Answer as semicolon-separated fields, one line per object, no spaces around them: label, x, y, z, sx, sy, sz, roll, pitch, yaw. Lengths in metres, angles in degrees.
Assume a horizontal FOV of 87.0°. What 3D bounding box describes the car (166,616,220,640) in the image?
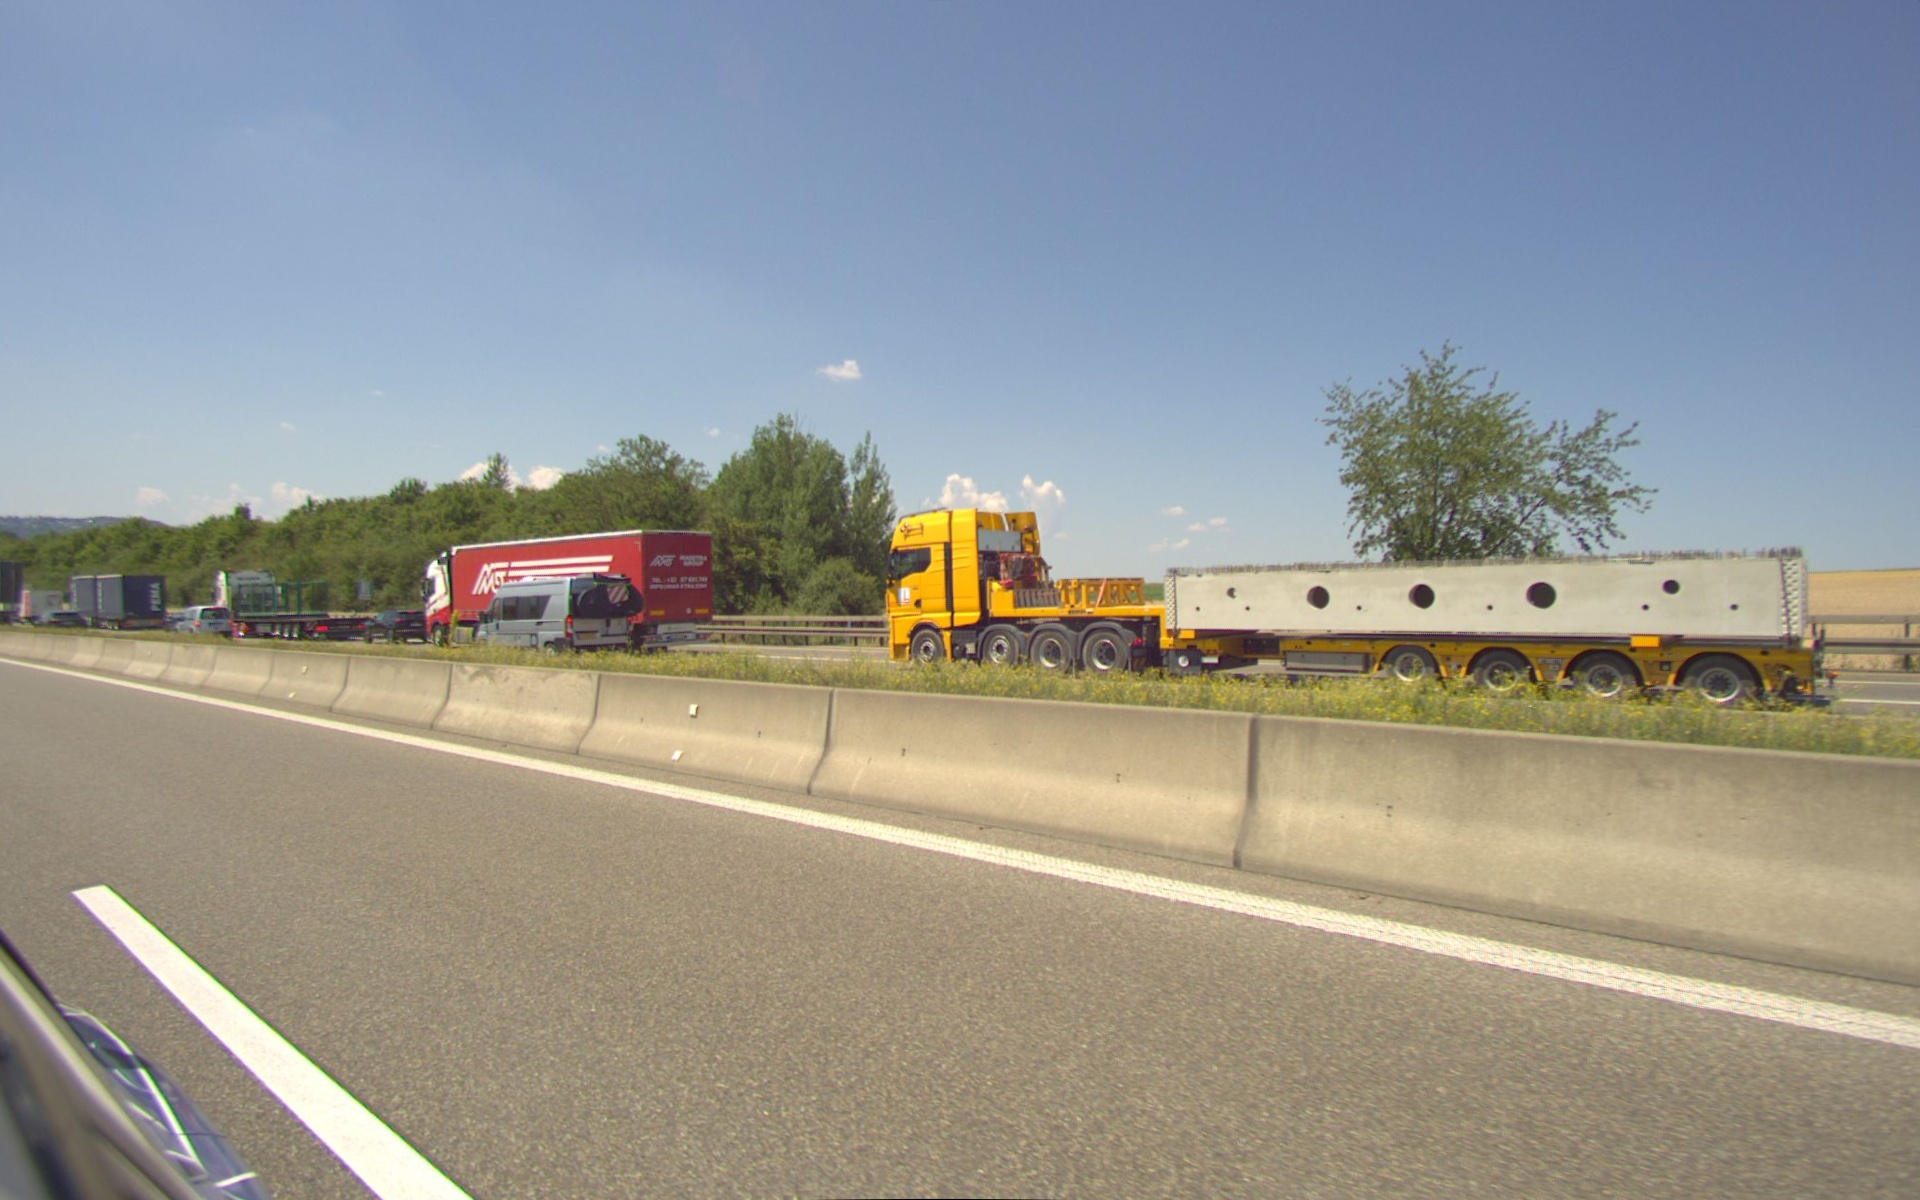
car;-48.914;1.770;64.500;4.642;1.442;1.640;0;0;38

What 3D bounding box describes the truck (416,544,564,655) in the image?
truck;-18.969;0.008;40.691;6.310;4.112;3.005;-1;0;40

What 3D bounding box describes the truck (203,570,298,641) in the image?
truck;-41.072;0.293;58.553;6.171;3.906;2.873;-1;0;39

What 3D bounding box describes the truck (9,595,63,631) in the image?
truck;-87.717;1.228;96.027;7.577;3.232;2.515;-1;0;37

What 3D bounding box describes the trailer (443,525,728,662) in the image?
trailer;-13.968;-0.145;36.378;14.373;4.131;3.054;-1;0;41

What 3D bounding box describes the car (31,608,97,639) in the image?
car;-52.854;1.380;59.672;5.249;1.708;2.029;-1;0;39

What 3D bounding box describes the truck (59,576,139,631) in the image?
truck;-69.834;0.316;82.000;10.721;4.266;2.972;-1;0;39

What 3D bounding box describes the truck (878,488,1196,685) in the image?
truck;1.560;-0.222;23.324;7.096;3.866;2.722;-1;0;42

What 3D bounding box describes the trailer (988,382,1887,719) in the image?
trailer;6.944;-0.496;18.327;14.377;4.131;2.921;-1;0;42

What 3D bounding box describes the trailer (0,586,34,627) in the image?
trailer;-99.630;0.723;105.834;8.220;4.103;2.891;-1;-1;39

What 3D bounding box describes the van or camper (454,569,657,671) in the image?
van or camper;-11.682;0.528;28.890;7.137;2.606;2.288;-1;0;40

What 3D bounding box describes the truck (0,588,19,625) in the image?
truck;-107.026;0.763;111.699;11.229;3.928;2.816;0;-1;38

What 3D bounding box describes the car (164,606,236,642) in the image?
car;-39.731;1.229;52.888;4.757;1.785;1.895;-1;0;39

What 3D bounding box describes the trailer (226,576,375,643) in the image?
trailer;-35.268;0.509;53.786;12.769;3.230;2.830;-1;0;39

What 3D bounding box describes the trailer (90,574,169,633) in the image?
trailer;-62.310;0.273;75.881;8.585;4.224;2.957;-1;0;39

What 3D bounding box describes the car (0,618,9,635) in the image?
car;-88.421;2.442;92.147;5.163;1.466;1.975;0;0;38

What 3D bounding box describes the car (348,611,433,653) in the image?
car;-26.130;1.417;46.385;4.599;1.643;1.820;2;2;39
